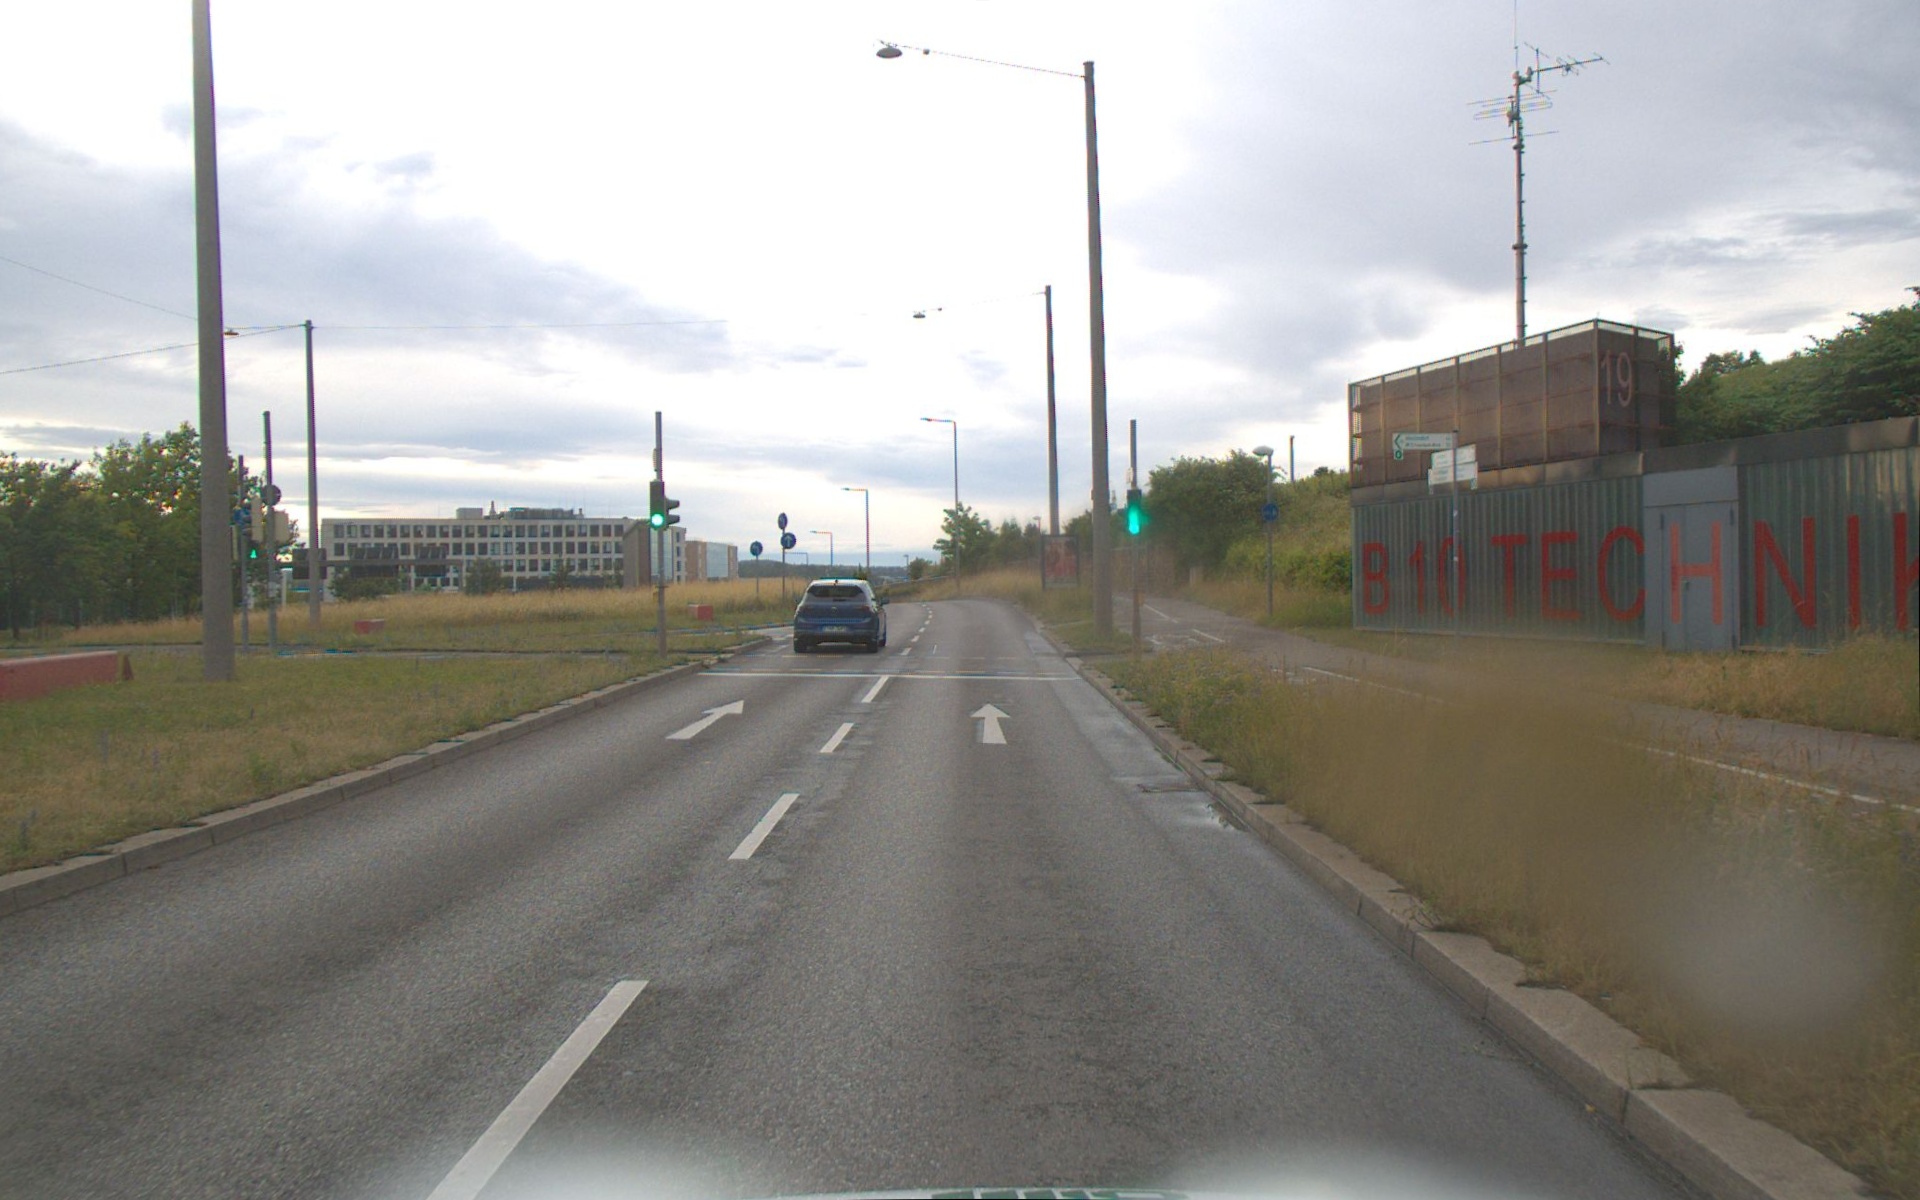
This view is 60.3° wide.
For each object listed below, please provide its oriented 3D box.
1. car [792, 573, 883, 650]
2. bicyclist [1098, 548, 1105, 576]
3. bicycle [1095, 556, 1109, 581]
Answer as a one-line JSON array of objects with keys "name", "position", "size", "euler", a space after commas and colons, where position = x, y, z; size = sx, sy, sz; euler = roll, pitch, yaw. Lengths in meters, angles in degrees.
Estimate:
[{"name": "car", "position": [-2.596, 0.191, 34.689], "size": [1.802, 1.417, 3.997], "euler": [0, 2, -5]}, {"name": "bicyclist", "position": [6.185, -1.654, 72.363], "size": [0.260, 1.216, 0.315], "euler": [0, 1, 2]}, {"name": "bicycle", "position": [6.216, -1.383, 72.394], "size": [0.539, 1.087, 0.615], "euler": [0, 1, 2]}]
